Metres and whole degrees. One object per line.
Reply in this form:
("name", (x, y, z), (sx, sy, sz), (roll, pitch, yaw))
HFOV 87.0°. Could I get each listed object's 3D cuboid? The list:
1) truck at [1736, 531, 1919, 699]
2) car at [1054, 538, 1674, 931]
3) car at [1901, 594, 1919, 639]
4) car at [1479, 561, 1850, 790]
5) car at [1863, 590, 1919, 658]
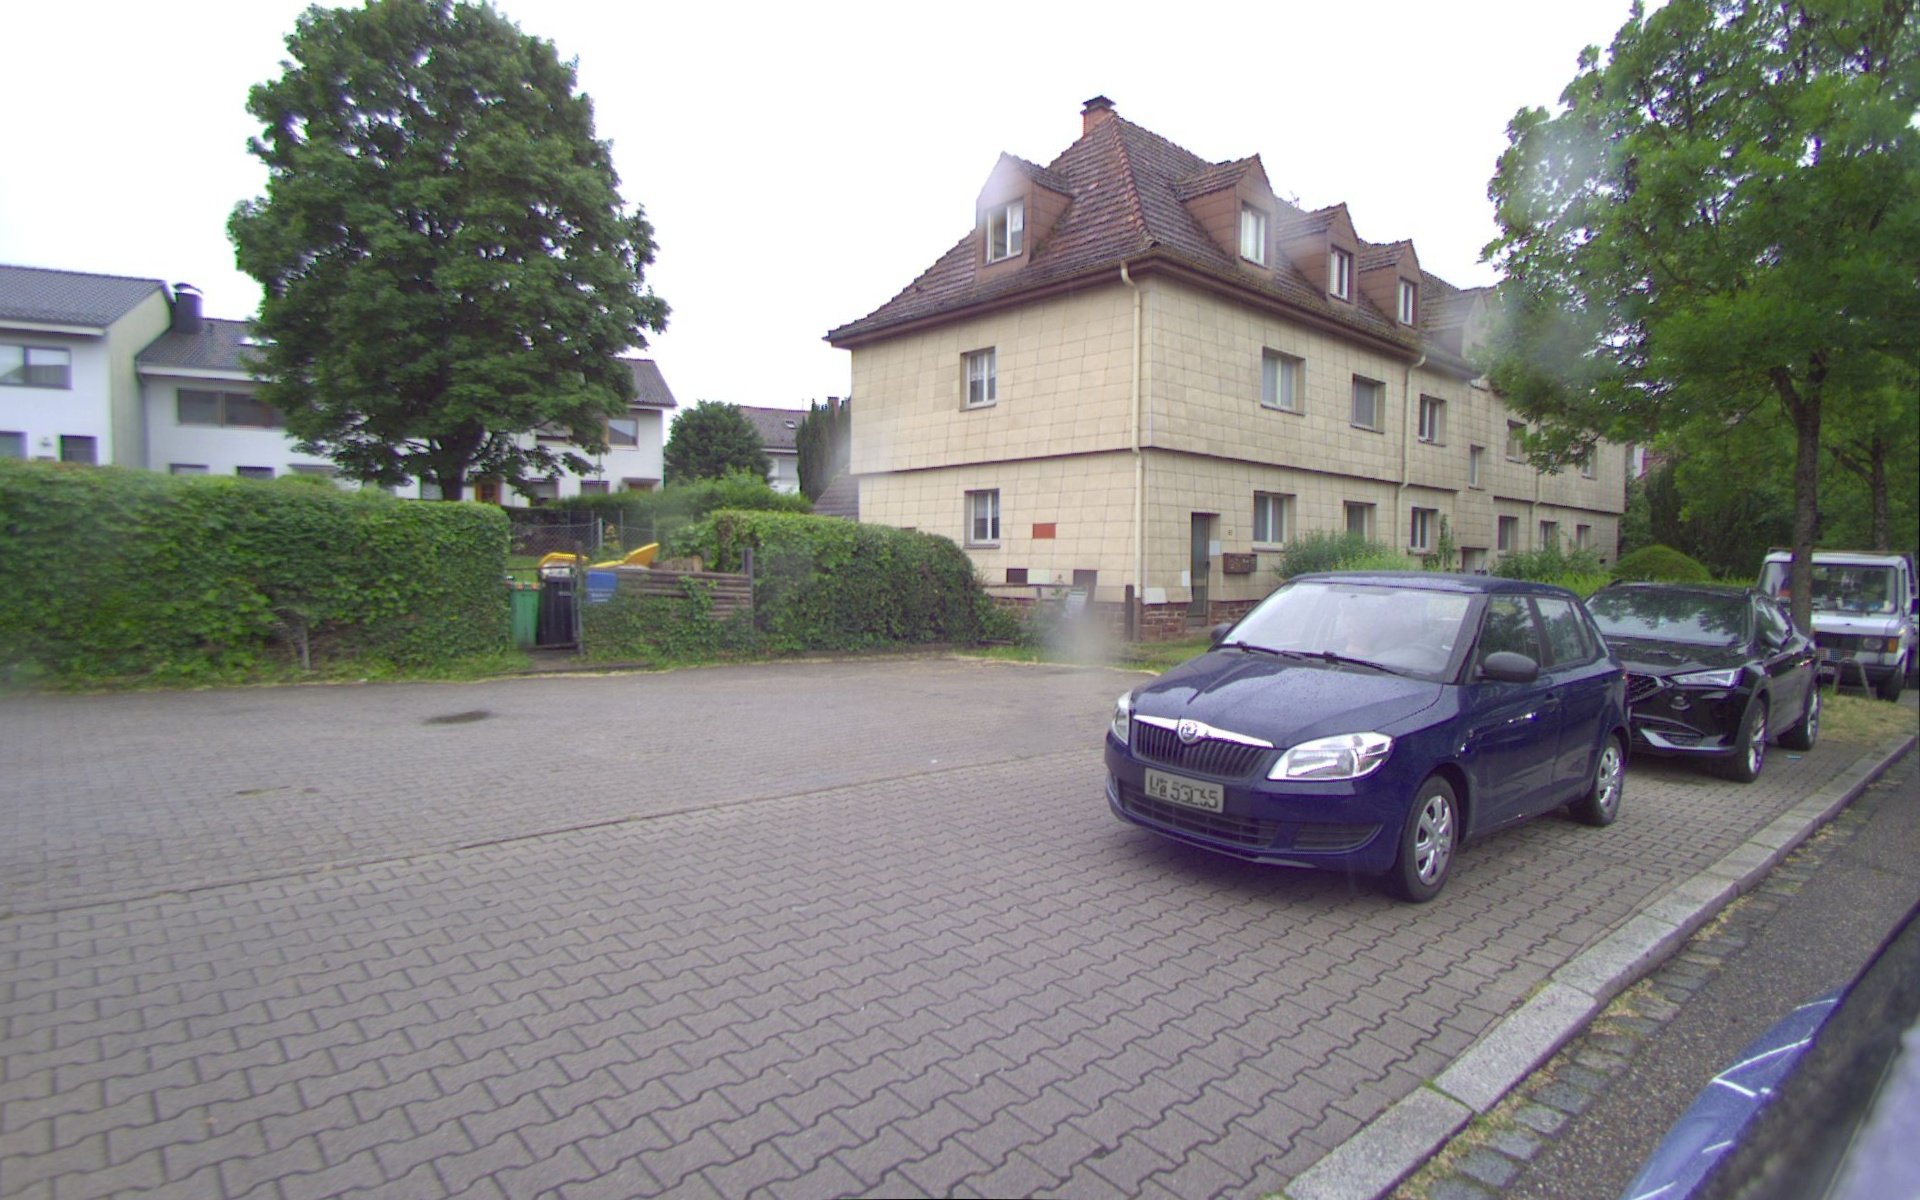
("truck", (14.955, 0.166, 16.828), (6.391, 2.248, 2.084), (0, 4, -43))
("car", (2.461, 0.496, 5.713), (3.787, 1.490, 1.608), (1, 3, -40))
("car", (32.688, 0.589, 33.645), (4.423, 1.406, 1.691), (0, 4, -43))
("car", (6.428, 0.515, 9.055), (4.110, 1.516, 1.718), (0, 4, -41))
("car", (22.889, 0.620, 24.036), (3.951, 1.453, 1.605), (2, 3, -42))
